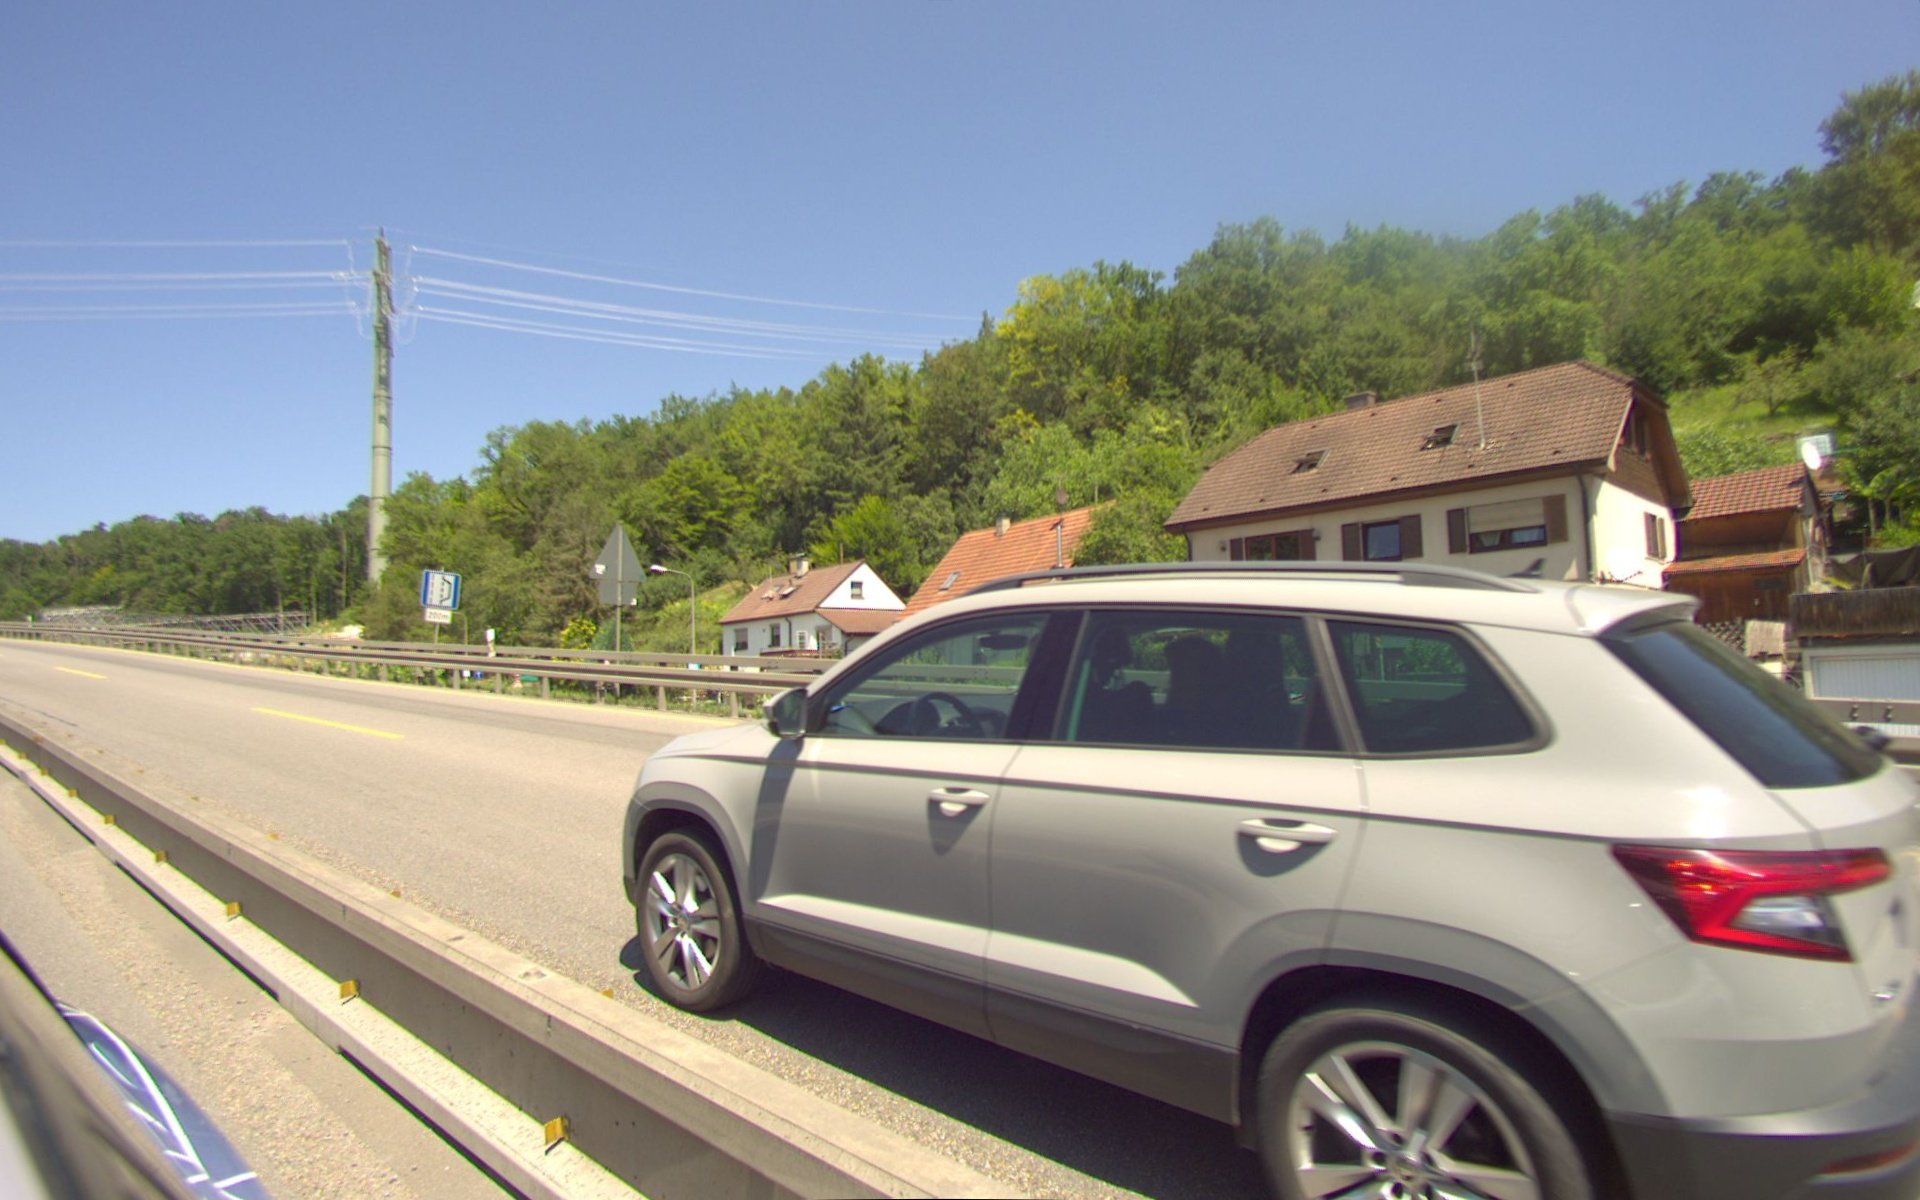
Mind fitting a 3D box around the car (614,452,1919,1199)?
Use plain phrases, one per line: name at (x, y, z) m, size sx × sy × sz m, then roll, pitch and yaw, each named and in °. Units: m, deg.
car at (0.782, 0.586, 3.304) m, size 4.067 × 1.623 × 1.840 m, roll 0°, pitch 0°, yaw 41°
